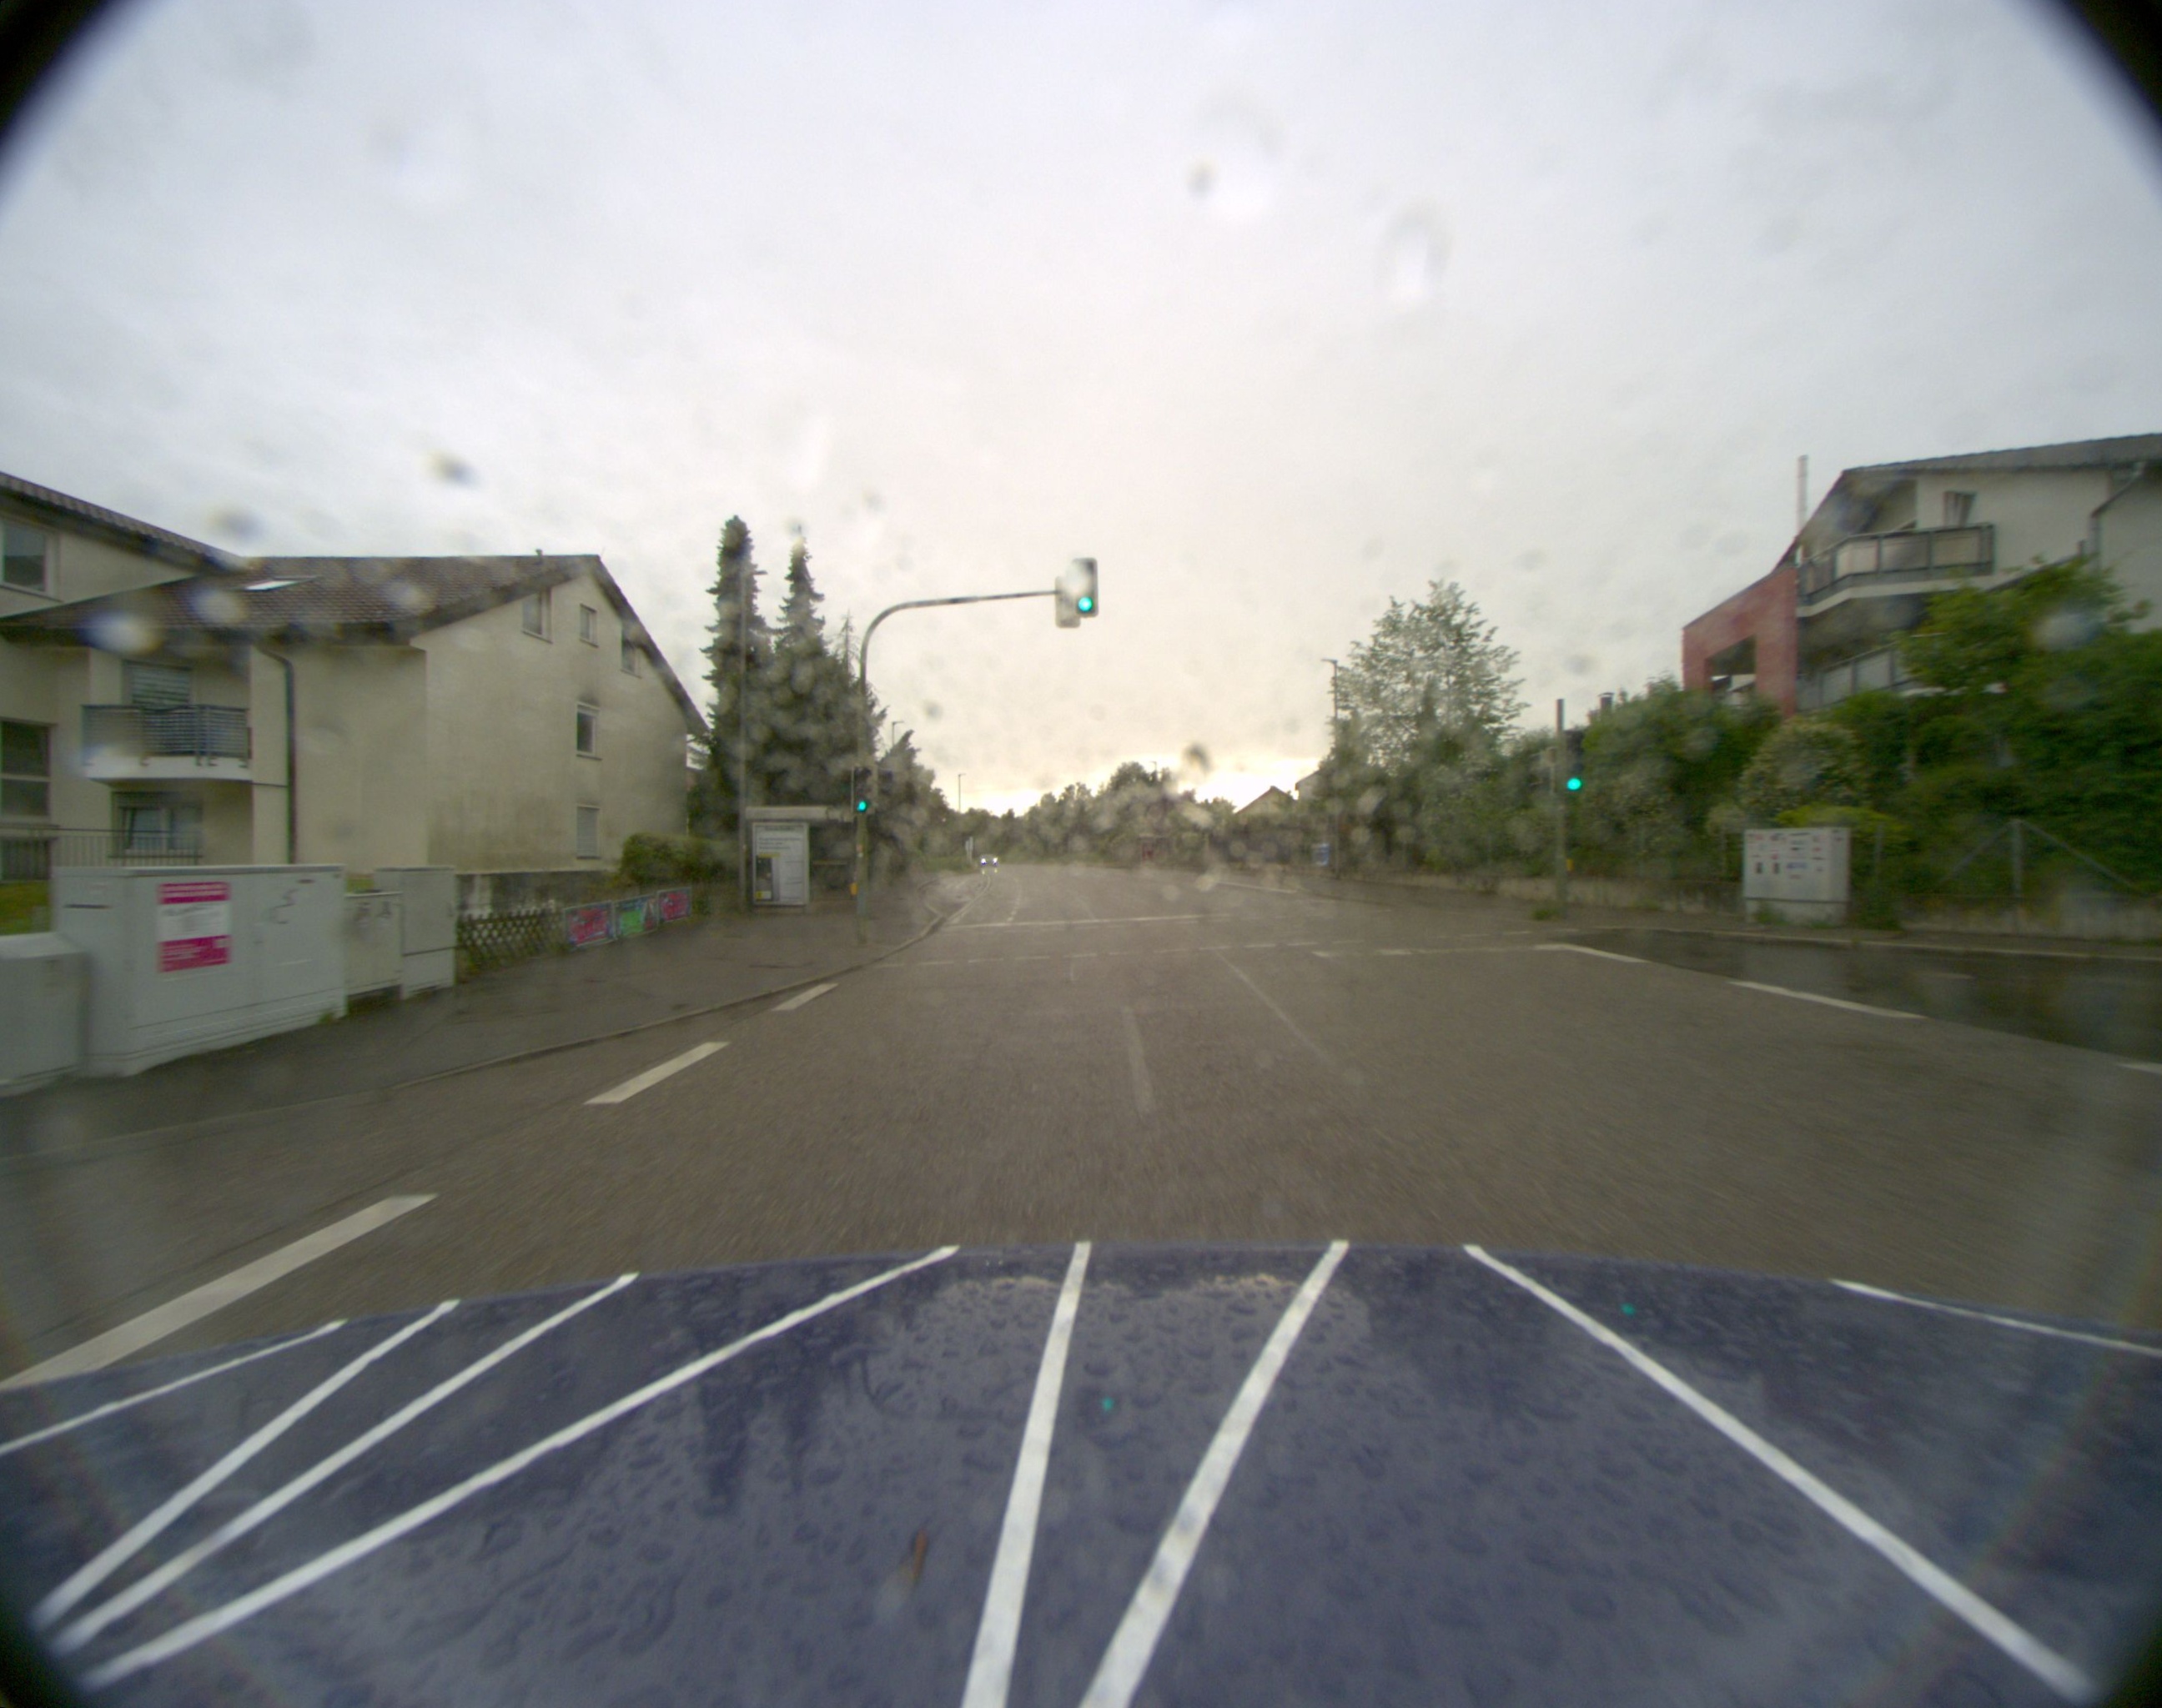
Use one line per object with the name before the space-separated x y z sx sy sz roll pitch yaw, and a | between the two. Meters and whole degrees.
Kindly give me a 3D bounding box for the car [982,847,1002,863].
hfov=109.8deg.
car | -10.299 0.124 87.642 2.000 1.831 3.996 -1 0 -11
